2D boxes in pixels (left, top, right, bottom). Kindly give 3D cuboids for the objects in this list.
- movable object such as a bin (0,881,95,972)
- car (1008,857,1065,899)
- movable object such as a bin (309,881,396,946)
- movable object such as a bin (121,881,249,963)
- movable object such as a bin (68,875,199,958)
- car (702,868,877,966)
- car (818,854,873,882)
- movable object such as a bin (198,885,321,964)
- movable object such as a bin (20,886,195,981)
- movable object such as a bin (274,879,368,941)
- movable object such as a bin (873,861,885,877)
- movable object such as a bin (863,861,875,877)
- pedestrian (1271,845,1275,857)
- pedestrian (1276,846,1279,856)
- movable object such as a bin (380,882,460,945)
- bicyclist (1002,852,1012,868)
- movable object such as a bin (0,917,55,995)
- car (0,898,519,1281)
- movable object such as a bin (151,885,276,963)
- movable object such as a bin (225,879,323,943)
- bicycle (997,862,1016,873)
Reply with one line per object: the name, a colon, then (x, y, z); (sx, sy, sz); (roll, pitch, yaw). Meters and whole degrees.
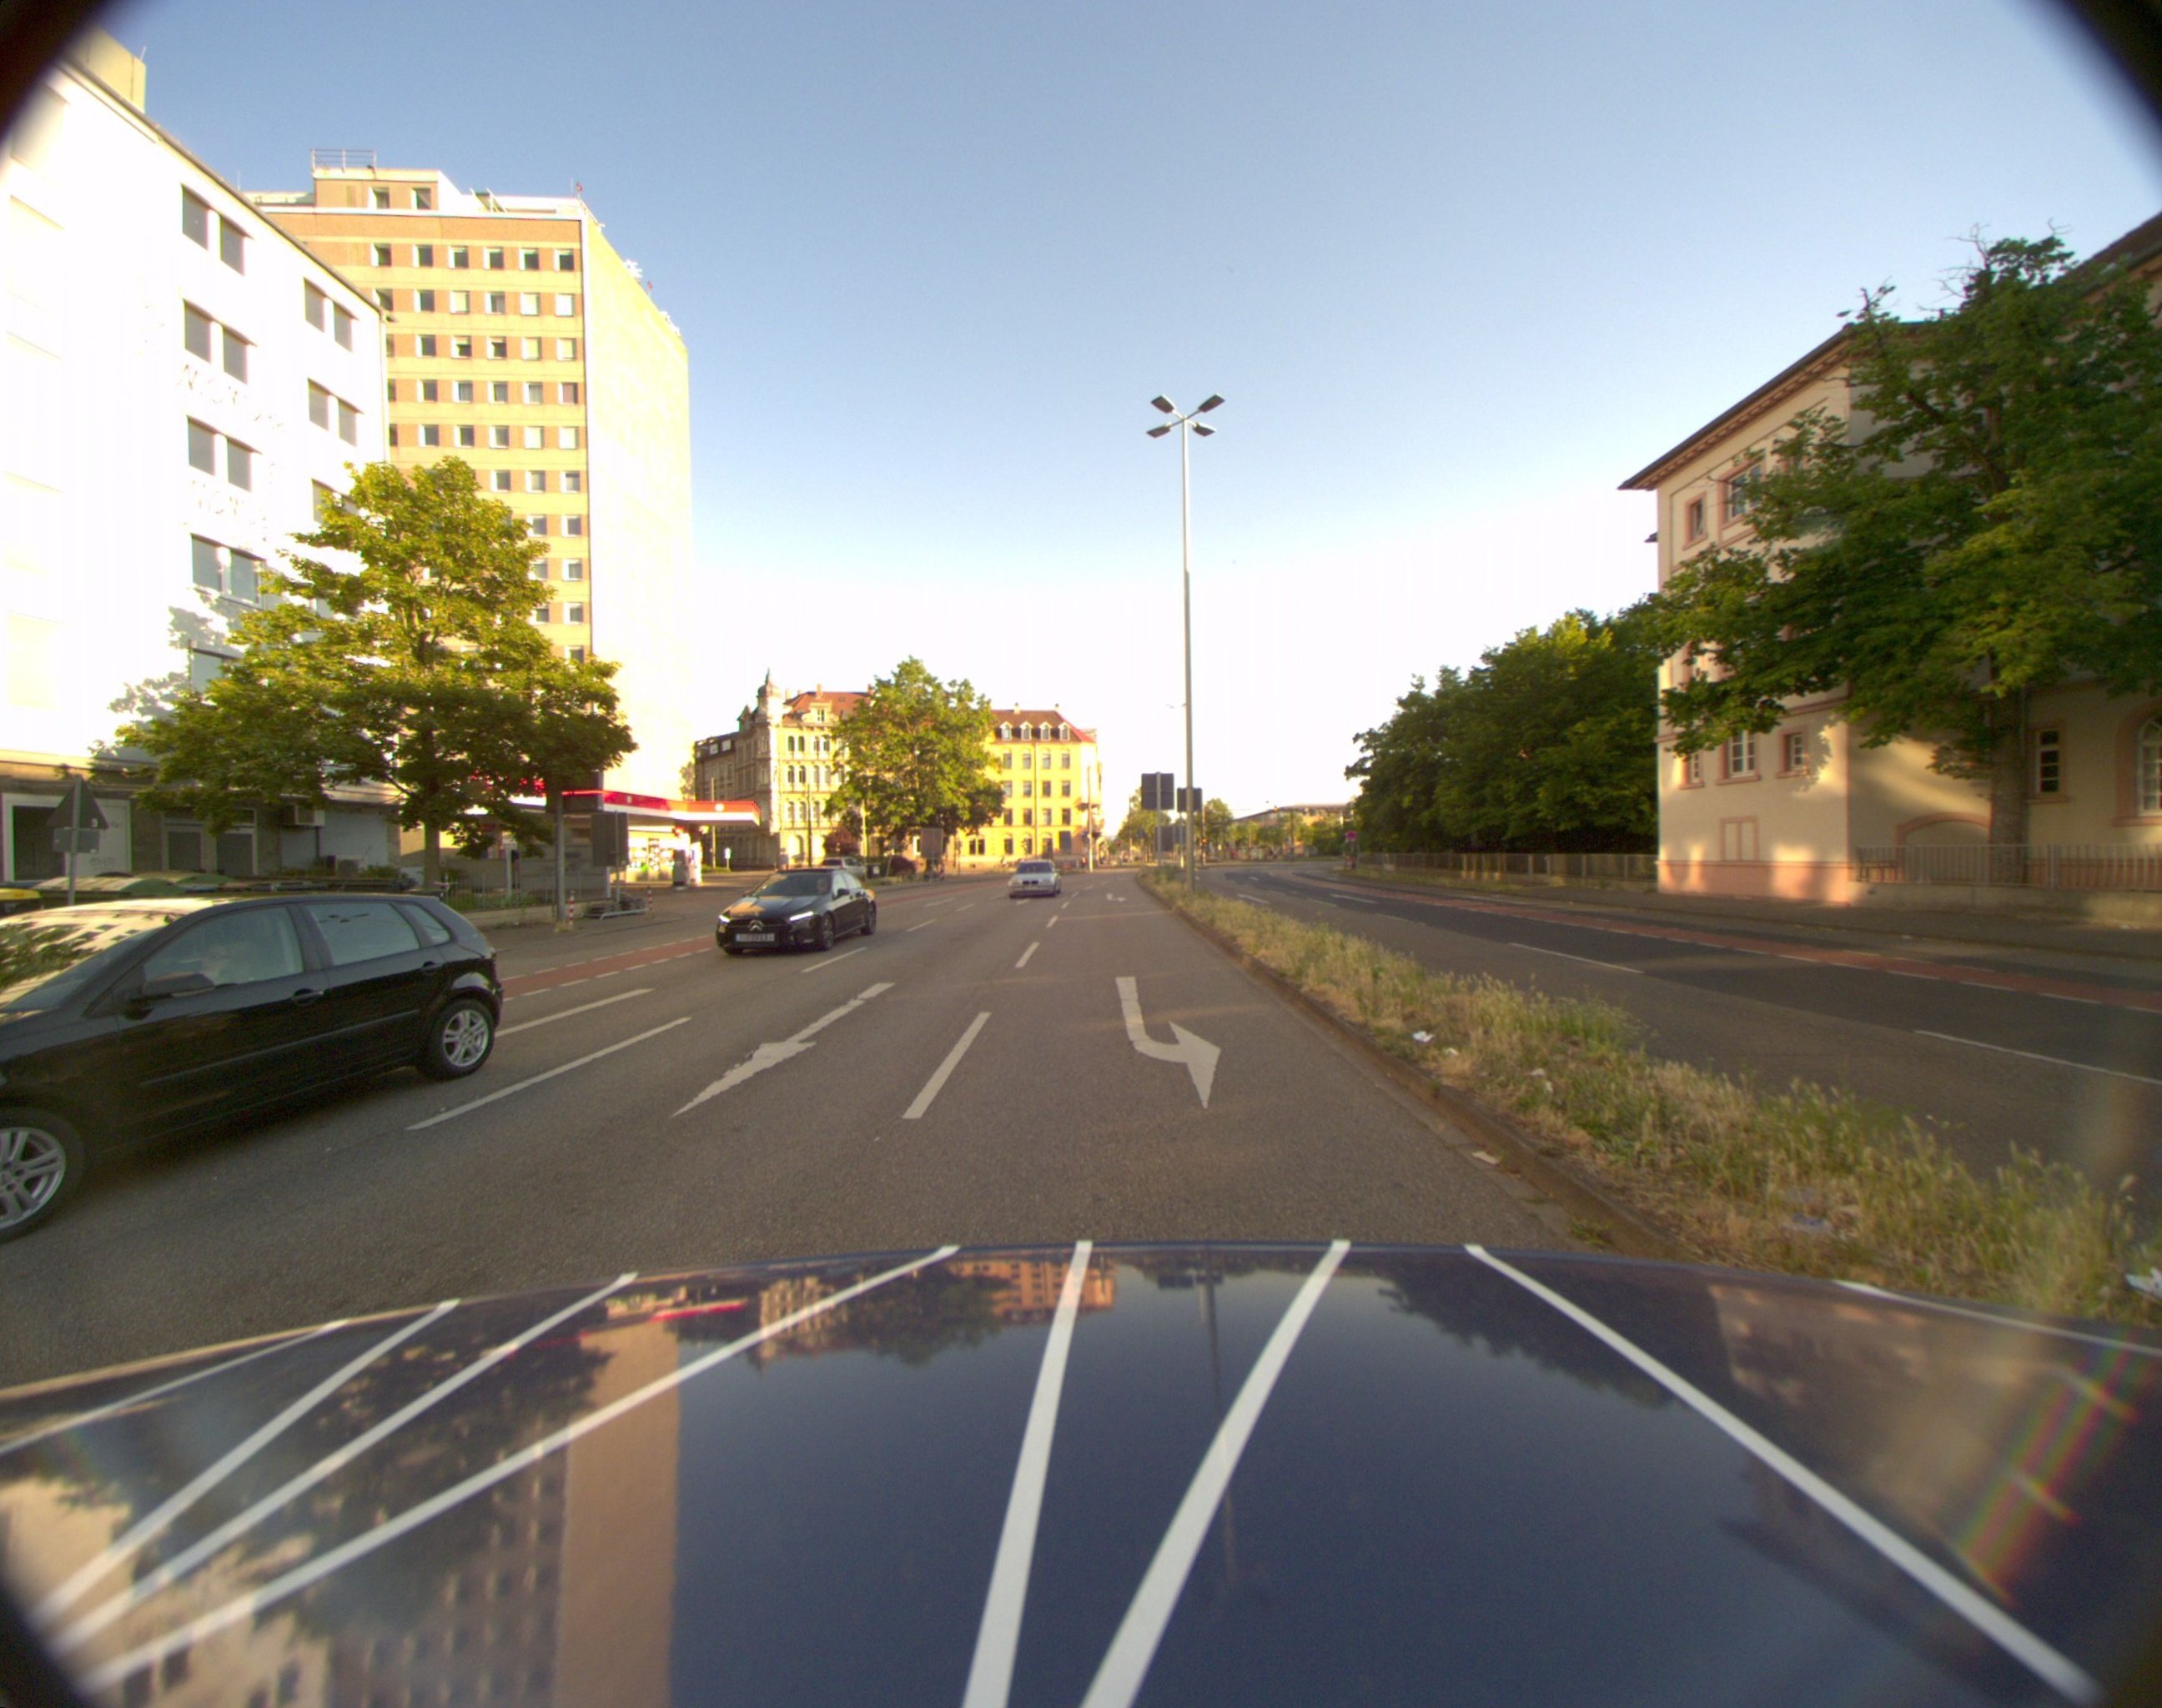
movable object such as a bin: (-18.693, 1.258, 13.405); (1.034, 1.490, 1.162); (-1, 1, -2)
car: (-1.663, 0.884, 29.779); (1.674, 1.410, 4.441); (-2, 0, 3)
movable object such as a bin: (-15.919, 1.290, 16.637); (0.956, 1.320, 0.953); (-1, 1, -2)
movable object such as a bin: (-17.126, 1.272, 14.564); (1.034, 1.440, 1.162); (-1, 1, -2)
movable object such as a bin: (-18.302, 1.186, 14.717); (1.034, 1.490, 1.162); (-1, 1, -2)
car: (-5.208, 1.046, 14.207); (1.731, 1.441, 4.045); (-2, 0, -1)
car: (-13.956, 0.818, 45.275); (1.688, 1.508, 3.798); (-1, 1, 8)
movable object such as a bin: (-14.943, 1.251, 13.864); (0.956, 1.320, 1.162); (-1, 1, -2)
movable object such as a bin: (-15.891, 1.262, 12.453); (1.351, 1.415, 1.105); (-1, 1, -4)
movable object such as a bin: (-16.936, 1.232, 16.960); (0.956, 1.276, 1.098); (-1, 1, -2)
movable object such as a bin: (-13.150, 0.973, 49.554); (0.544, 1.013, 0.688); (-1, 1, 5)
movable object such as a bin: (-13.870, 0.988, 49.765); (0.544, 1.013, 0.688); (-1, 1, 5)
pedestrian: (33.507, -0.552, 132.607); (0.556, 2.002, 0.664); (-1, 1, 1)
pedestrian: (34.262, -0.523, 132.279); (0.467, 1.695, 0.419); (-1, 1, 1)
movable object such as a bin: (-14.882, 1.327, 17.137); (0.956, 1.320, 0.953); (-1, 1, -2)
bicyclist: (-7.584, 0.616, 77.875); (1.065, 1.639, 0.732); (-1, 1, -7)
movable object such as a bin: (-15.517, 1.458, 10.746); (0.853, 1.039, 0.819); (-1, 1, -4)
car: (-5.368, 1.107, 4.180); (1.584, 1.441, 3.872); (-2, 0, 1)
movable object such as a bin: (-16.043, 1.269, 14.095); (0.956, 1.320, 1.162); (-1, 1, -2)
movable object such as a bin: (-17.933, 1.245, 16.916); (0.956, 1.320, 1.098); (-1, 1, -2)
bicycle: (-7.606, 1.361, 77.878); (1.927, 1.053, 0.451); (-1, 1, -7)
